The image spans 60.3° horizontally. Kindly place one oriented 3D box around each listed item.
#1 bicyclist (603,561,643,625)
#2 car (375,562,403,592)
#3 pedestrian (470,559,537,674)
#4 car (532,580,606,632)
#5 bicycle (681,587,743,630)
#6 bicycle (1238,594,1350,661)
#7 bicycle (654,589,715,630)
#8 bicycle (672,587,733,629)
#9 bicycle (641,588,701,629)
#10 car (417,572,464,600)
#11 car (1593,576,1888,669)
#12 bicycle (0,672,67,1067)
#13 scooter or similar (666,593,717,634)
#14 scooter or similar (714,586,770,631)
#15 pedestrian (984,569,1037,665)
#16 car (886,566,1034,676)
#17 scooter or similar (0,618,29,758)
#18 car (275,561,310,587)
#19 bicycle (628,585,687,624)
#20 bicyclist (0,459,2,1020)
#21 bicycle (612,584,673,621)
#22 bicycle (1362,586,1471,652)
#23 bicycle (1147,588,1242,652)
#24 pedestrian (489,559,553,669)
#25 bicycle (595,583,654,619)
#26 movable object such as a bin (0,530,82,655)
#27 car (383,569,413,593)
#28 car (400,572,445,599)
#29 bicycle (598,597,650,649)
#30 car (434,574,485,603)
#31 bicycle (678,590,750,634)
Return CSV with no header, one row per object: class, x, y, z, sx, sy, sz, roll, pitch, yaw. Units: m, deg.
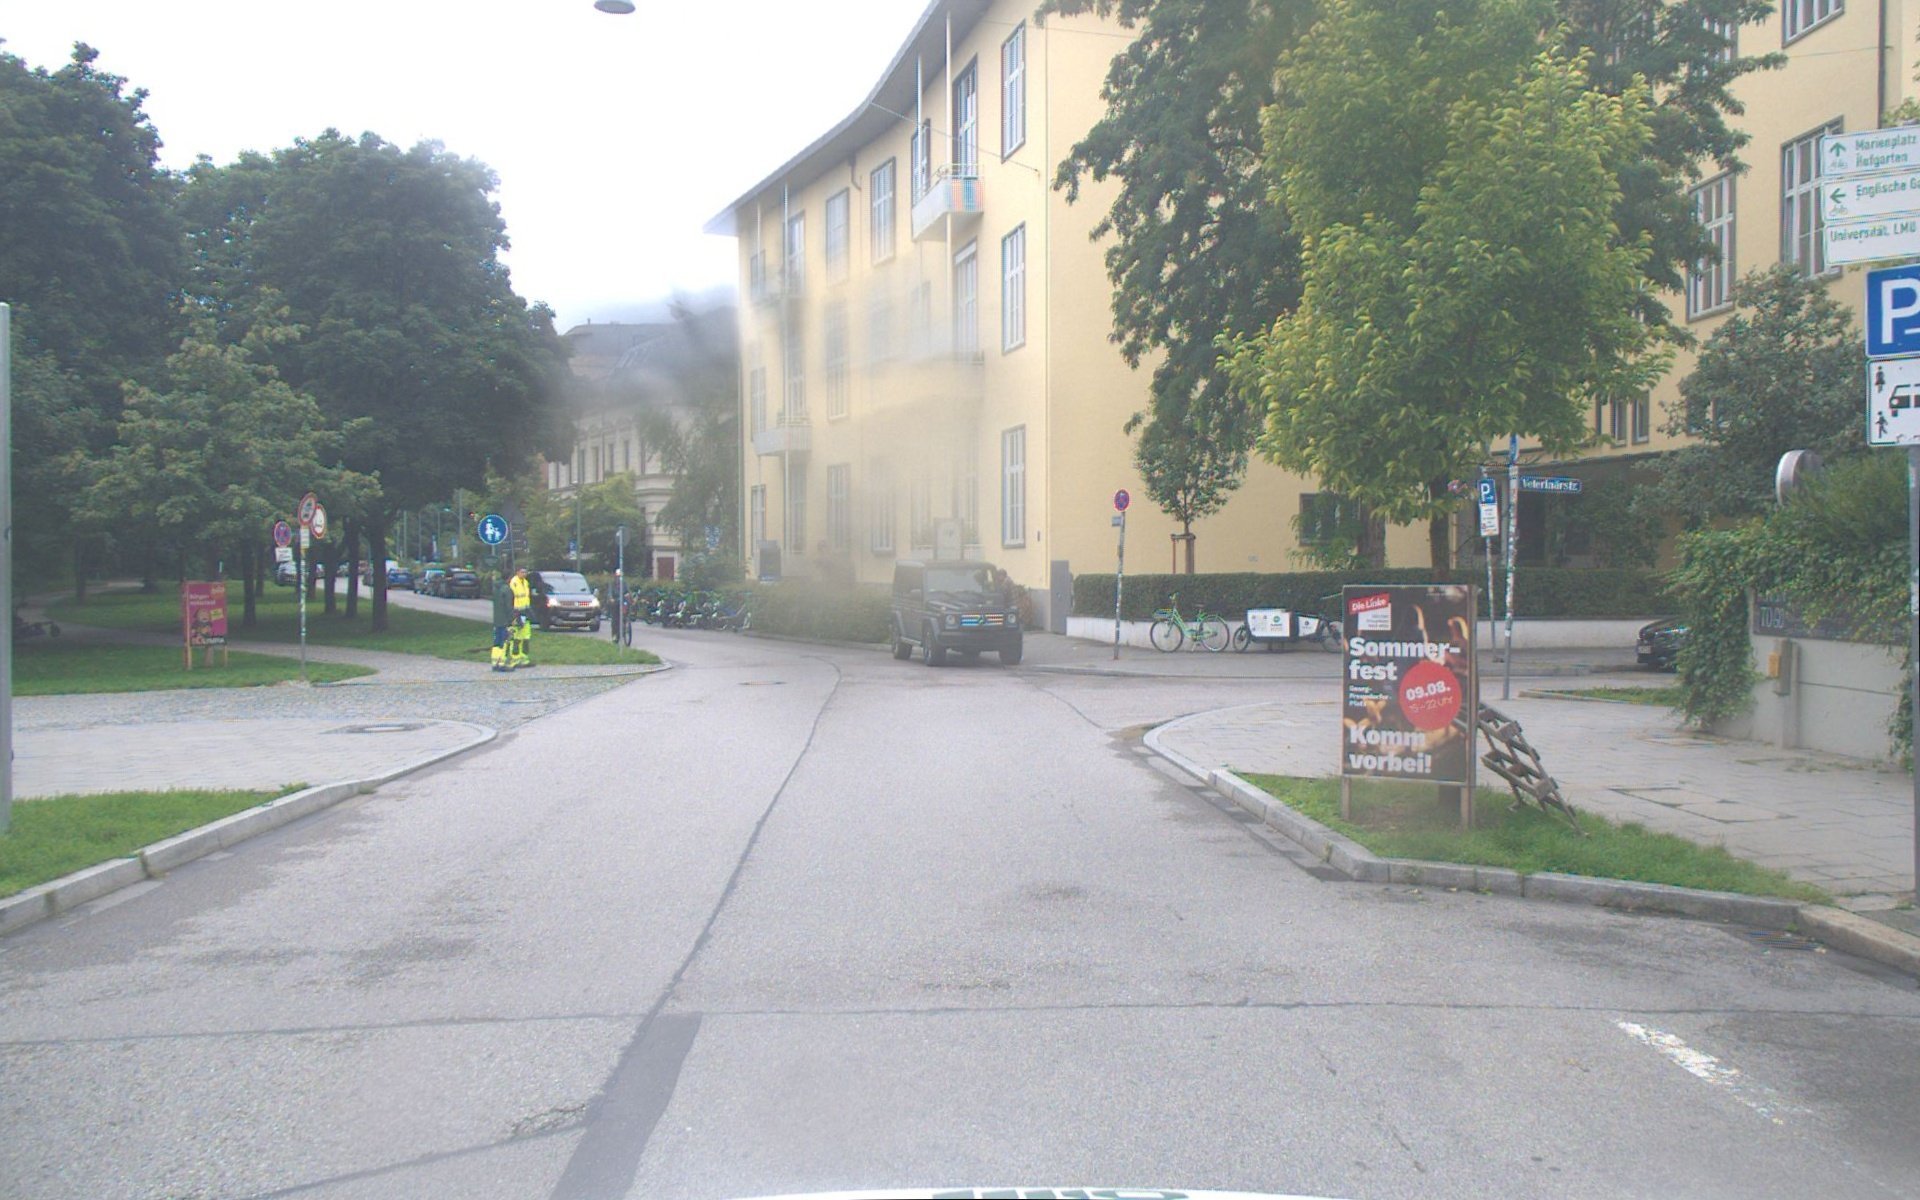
bicyclist,-8.275,-0.179,40.604,0.734,1.547,0.938,-1,0,-26
car,-43.344,-1.722,125.514,1.963,2.197,3.978,-1,0,-19
pedestrian,-8.271,0.289,30.000,0.912,2.049,0.957,0,0,2
car,-11.870,0.146,50.085,1.885,1.496,3.980,0,1,-18
bicycle,-7.919,0.266,52.802,0.719,1.328,2.150,0,1,33
bicycle,6.339,0.508,31.405,2.024,1.222,0.595,0,1,20
bicycle,-9.084,0.307,54.564,0.719,1.328,2.150,0,1,33
bicycle,-8.350,0.249,53.640,0.719,1.328,2.150,0,1,33
bicycle,-9.640,0.274,55.236,0.719,1.328,2.150,0,1,33
car,-30.915,-0.827,98.312,1.971,1.634,3.962,-1,0,-29
car,13.070,0.381,27.865,4.158,1.471,1.697,-1,-1,0
bicycle,-3.212,0.827,4.410,0.656,1.179,2.002,0,0,-3
scooter or similar,-8.771,0.432,54.006,0.718,1.328,1.727,0,1,30
scooter or similar,-6.560,0.240,49.833,0.717,1.328,2.156,0,1,21
pedestrian,0.980,0.321,32.465,0.859,1.855,0.795,0,0,-14
car,-0.085,0.351,32.376,1.733,1.907,4.362,4,0,-15
scooter or similar,-8.679,0.775,14.241,0.338,1.209,1.115,0,1,35
car,-46.059,-1.761,114.079,1.970,1.720,3.965,-1,0,-27
bicycle,-10.396,0.146,56.953,0.719,1.328,2.150,0,1,33
bicyclist,-3.199,0.407,4.335,0.846,1.636,0.946,0,0,-3
bicycle,-11.701,0.093,60.896,2.117,1.328,0.730,0,0,-20
bicycle,8.576,0.347,31.121,1.882,1.222,0.595,0,0,2
bicycle,4.631,0.388,32.795,1.895,1.222,0.591,1,1,44
pedestrian,-8.264,0.257,31.169,0.912,2.049,0.957,0,0,2
bicycle,-12.730,0.032,62.754,2.117,1.328,0.730,0,0,-20
movable object such as a bin,-25.826,-0.199,43.890,1.958,3.269,3.990,-1,0,32
car,-39.768,-1.329,117.097,1.963,1.634,3.978,-1,0,-19
car,-33.561,-0.892,103.243,1.971,1.634,3.962,-1,0,-29
bicycle,-8.260,0.549,40.596,0.734,1.236,2.127,-1,0,-25
car,-28.287,-0.635,93.378,1.971,1.634,3.962,-1,0,-29
bicycle,-7.528,0.352,50.707,2.136,1.328,0.724,-1,1,-40
